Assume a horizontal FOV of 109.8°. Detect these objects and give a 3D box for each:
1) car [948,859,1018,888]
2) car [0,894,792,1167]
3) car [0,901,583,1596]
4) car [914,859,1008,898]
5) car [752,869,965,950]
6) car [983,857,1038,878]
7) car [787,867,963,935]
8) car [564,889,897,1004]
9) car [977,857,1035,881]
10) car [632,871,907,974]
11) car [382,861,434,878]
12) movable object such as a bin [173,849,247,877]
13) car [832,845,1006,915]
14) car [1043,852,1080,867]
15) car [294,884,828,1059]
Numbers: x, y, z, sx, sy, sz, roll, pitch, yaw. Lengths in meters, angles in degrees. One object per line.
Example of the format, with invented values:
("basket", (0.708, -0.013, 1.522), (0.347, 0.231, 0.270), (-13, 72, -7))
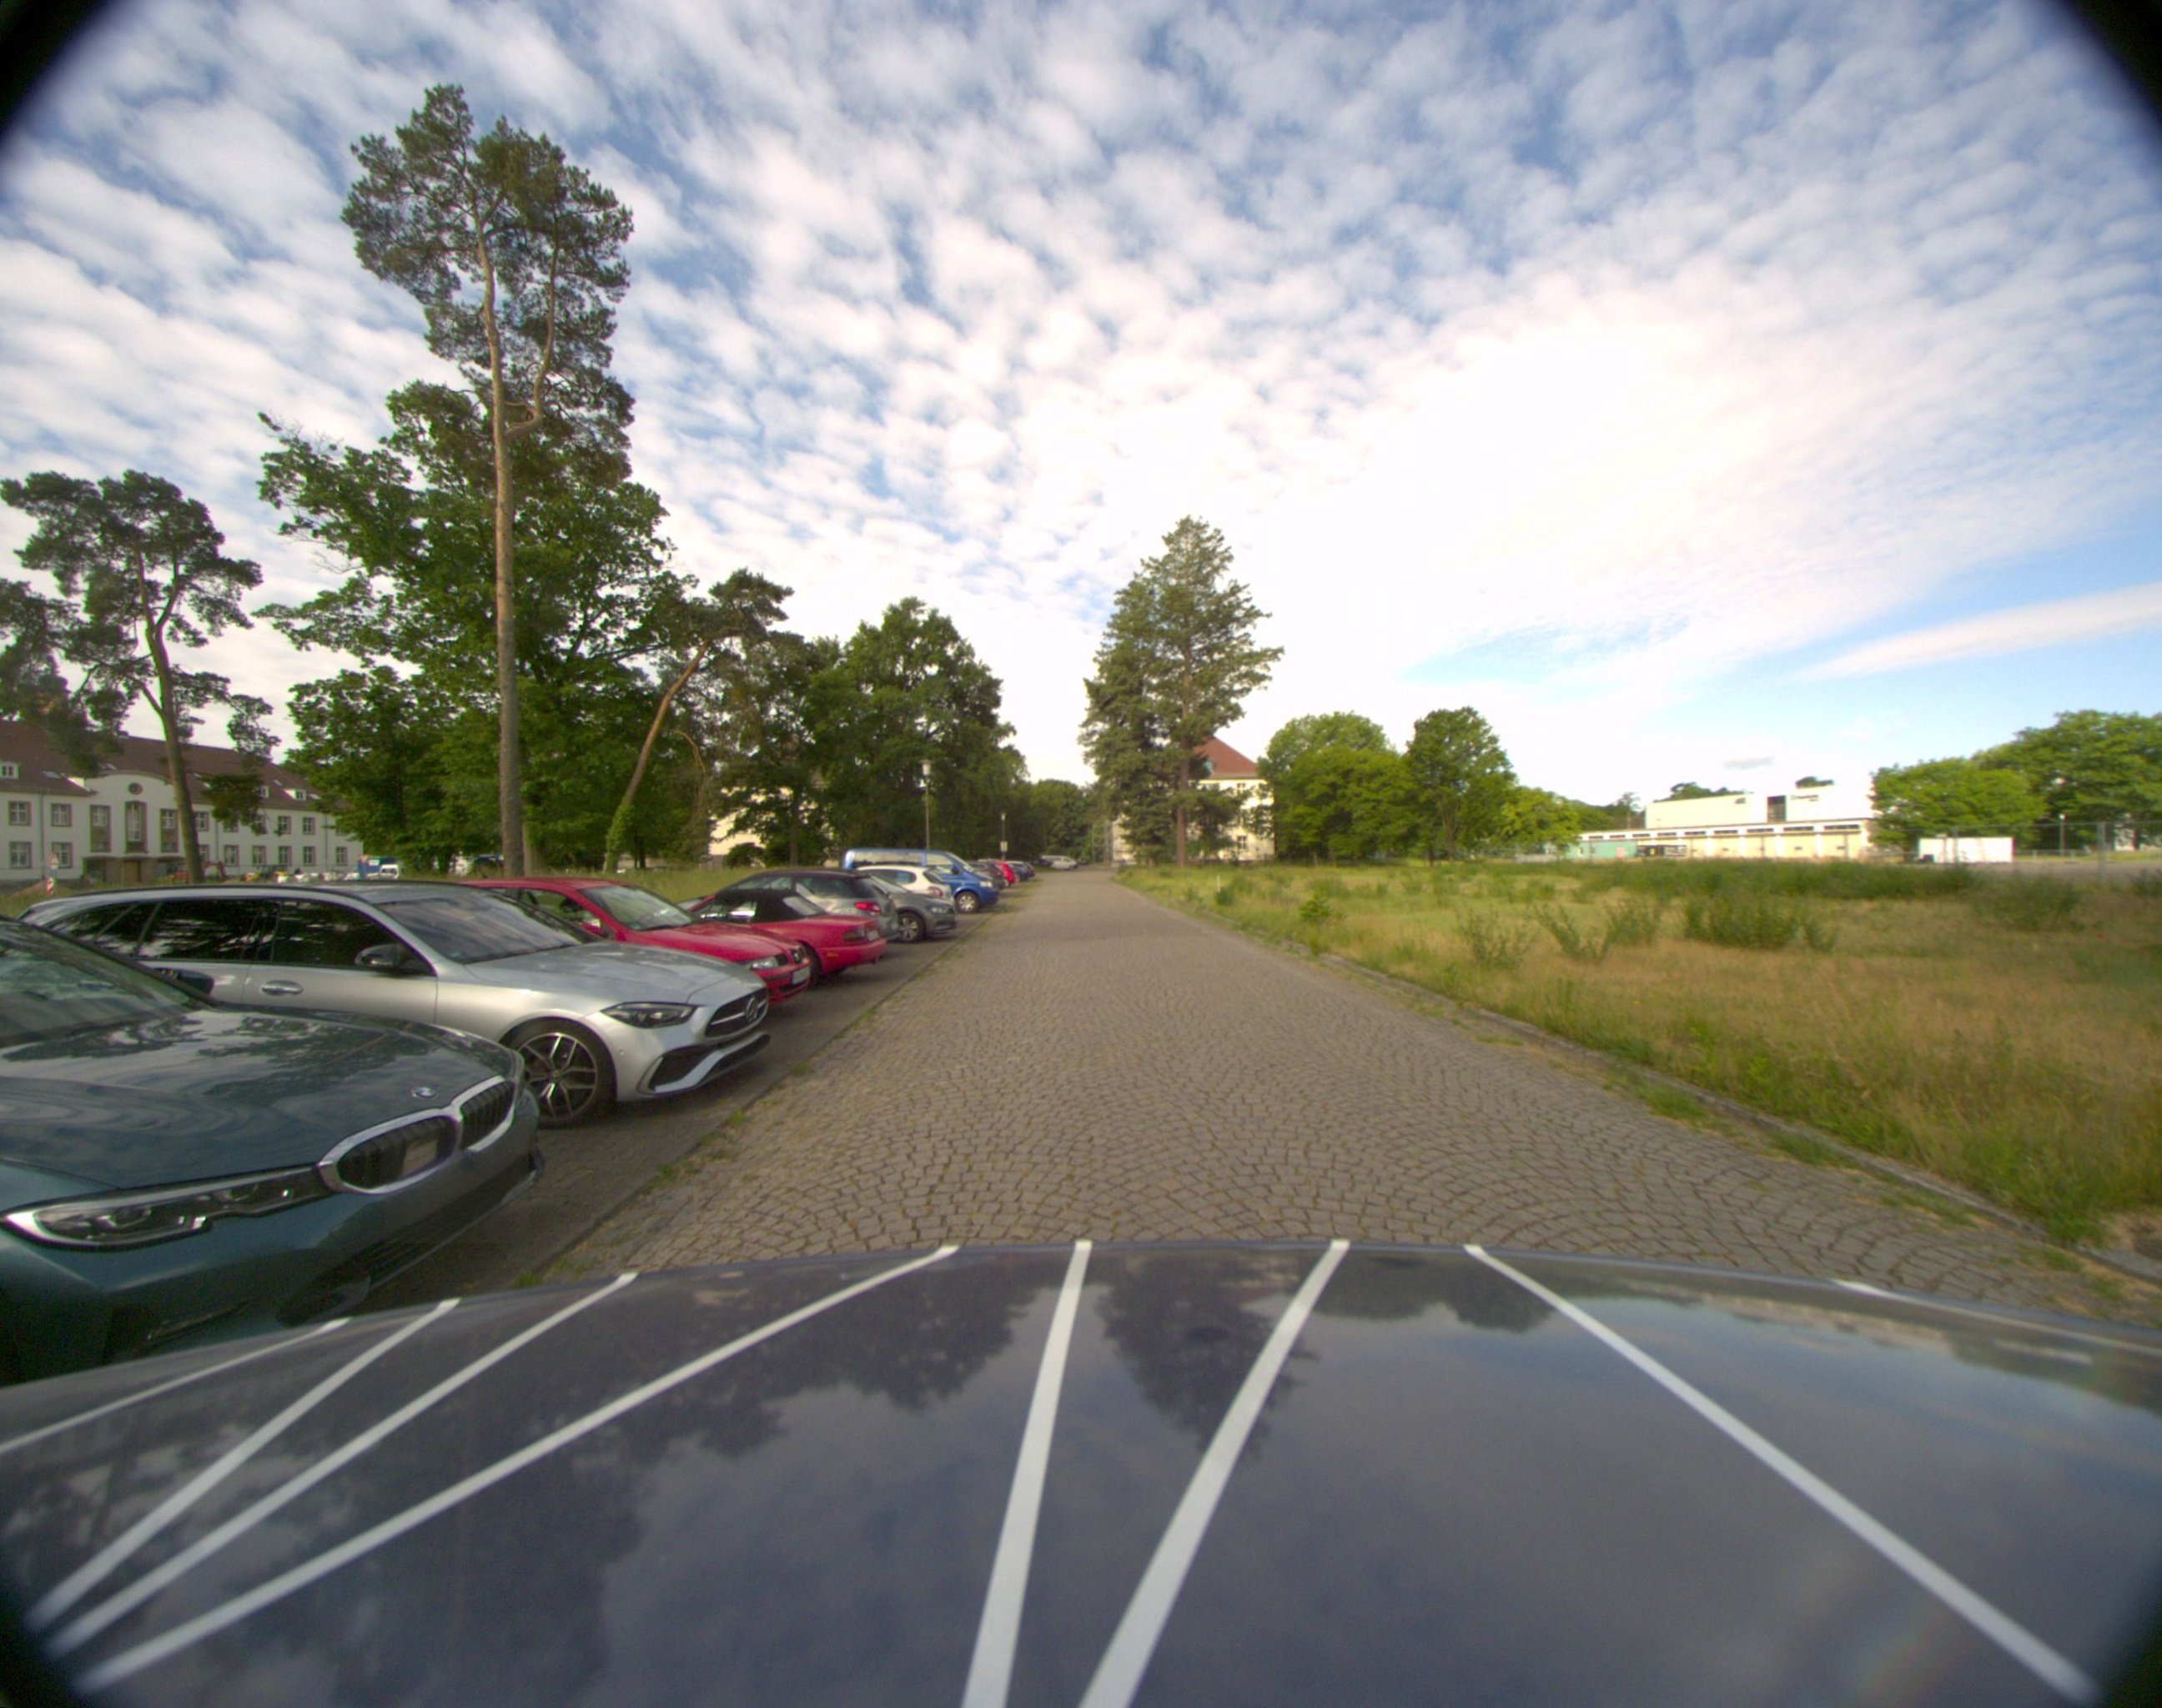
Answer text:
("car", (-5.457, 1.071, 42.651), (3.839, 1.516, 1.580), (-1, 0, -5))
("car", (-4.490, 1.043, 5.205), (4.337, 1.420, 1.766), (0, 0, -2))
("car", (-4.544, 0.989, 2.501), (4.526, 1.474, 1.807), (-1, 0, -4))
("car", (-5.052, 1.018, 32.345), (3.839, 1.592, 1.580), (-1, 0, -5))
("car", (-4.374, 1.082, 15.338), (3.781, 1.457, 1.643), (-1, 0, 1))
("car", (-5.273, 0.986, 56.927), (3.836, 1.520, 1.674), (-1, 0, 4))
("car", (-4.860, 1.087, 18.279), (3.762, 1.490, 1.581), (-1, 0, 1))
("car", (-4.375, 1.140, 9.857), (3.555, 1.279, 1.608), (-1, -1, 0))
("car", (-5.220, 1.033, 53.138), (3.836, 1.609, 1.581), (-1, 0, 4))
("car", (-4.959, 1.065, 12.473), (3.838, 1.494, 1.604), (-1, 0, -1))
("car", (-69.676, 1.623, 78.727), (1.847, 1.674, 3.937), (1, 0, 2))
("movable object such as a bin", (-91.479, 0.923, 79.916), (1.999, 2.752, 5.201), (-1, 0, -6))
("car", (-4.930, 0.773, 23.702), (4.954, 2.011, 2.060), (1, 0, 0))
("car", (-2.713, 0.811, 106.650), (5.130, 2.002, 1.804), (-1, 0, -3))
("car", (-4.887, 1.079, 7.598), (4.118, 1.415, 1.719), (-1, 0, 0))
